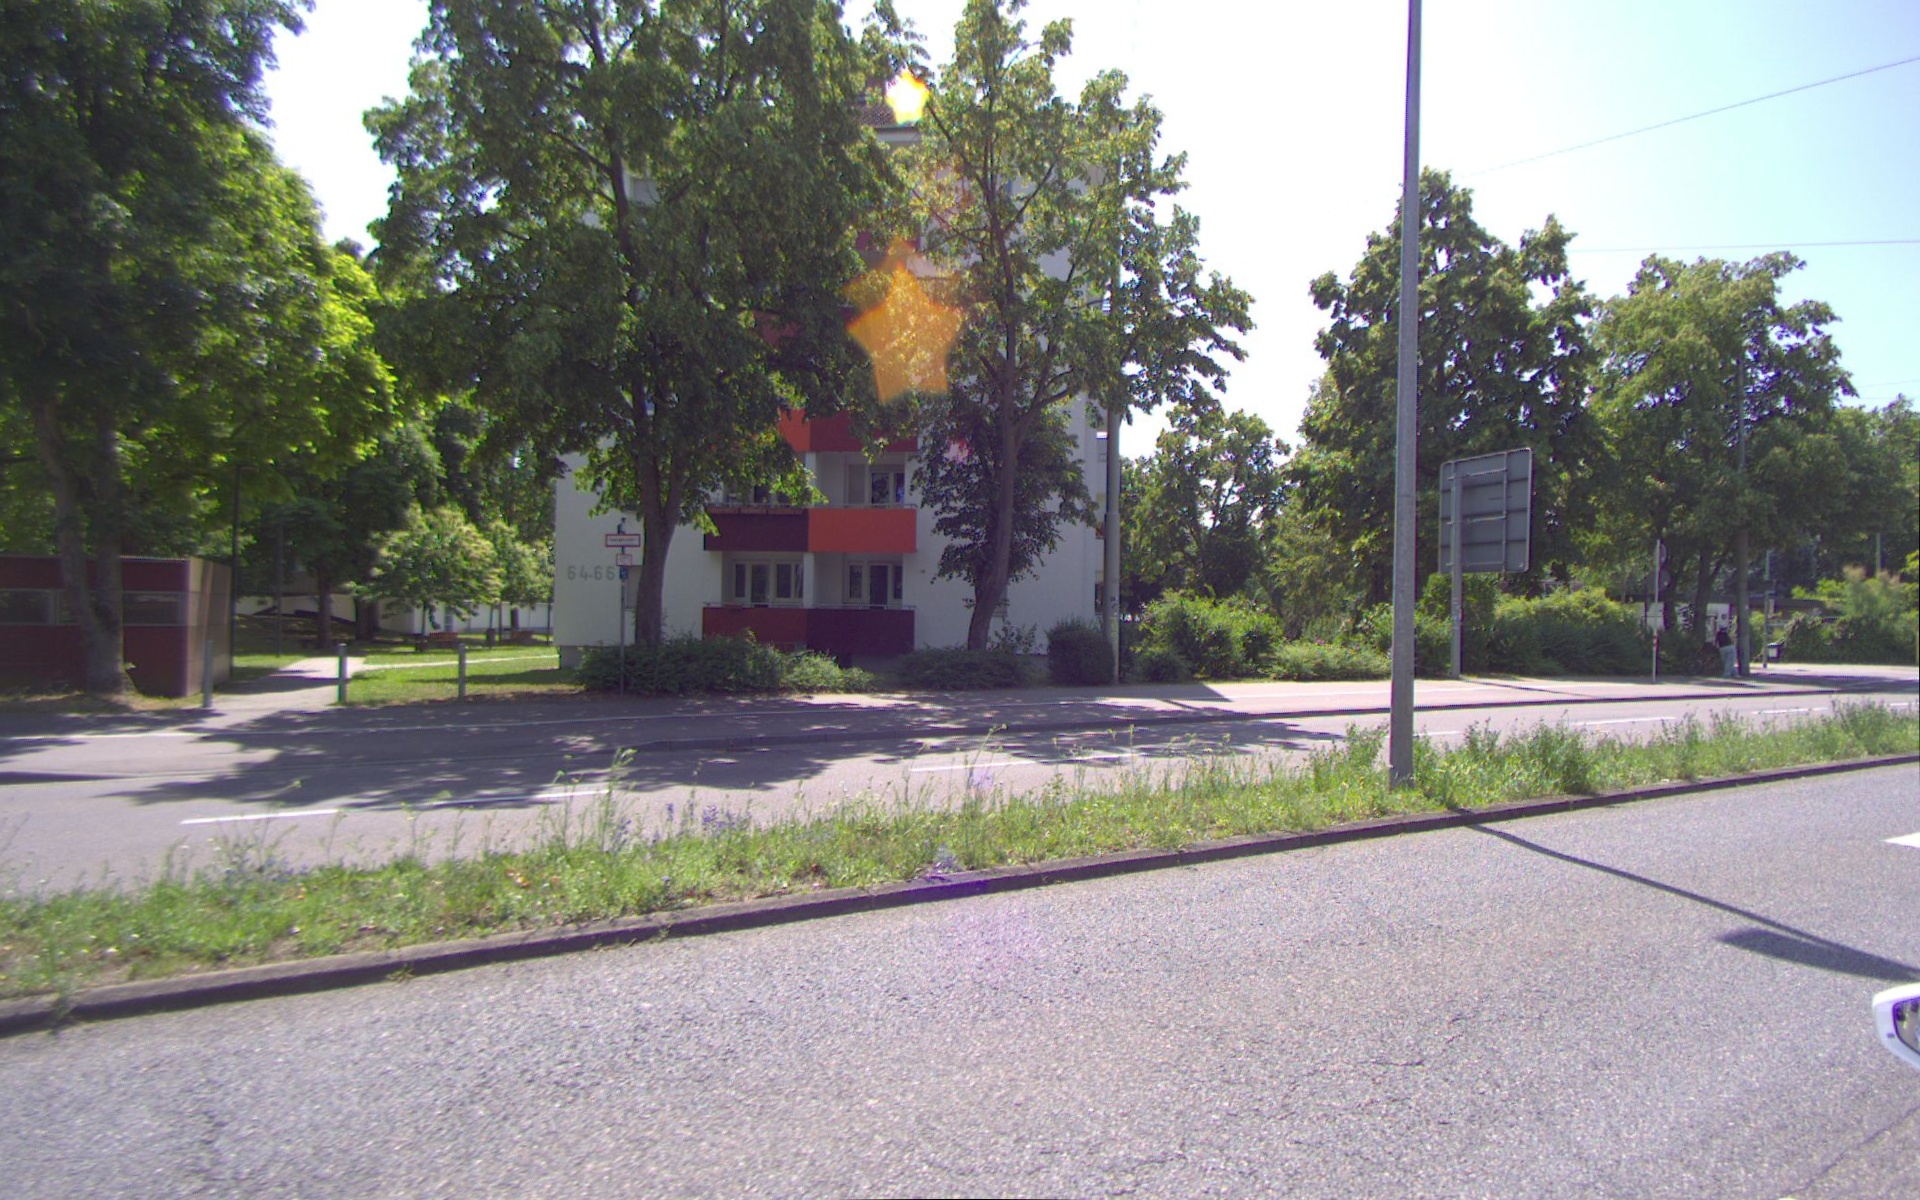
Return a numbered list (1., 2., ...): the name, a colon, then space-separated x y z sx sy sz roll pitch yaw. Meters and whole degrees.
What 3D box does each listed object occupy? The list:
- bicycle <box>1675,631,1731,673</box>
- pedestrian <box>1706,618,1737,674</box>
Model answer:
1. bicycle: 24.035 1.682 32.508 1.547 1.345 0.646 1 -1 -15
2. pedestrian: 24.164 1.450 31.880 0.593 1.741 0.549 1 -1 -14
